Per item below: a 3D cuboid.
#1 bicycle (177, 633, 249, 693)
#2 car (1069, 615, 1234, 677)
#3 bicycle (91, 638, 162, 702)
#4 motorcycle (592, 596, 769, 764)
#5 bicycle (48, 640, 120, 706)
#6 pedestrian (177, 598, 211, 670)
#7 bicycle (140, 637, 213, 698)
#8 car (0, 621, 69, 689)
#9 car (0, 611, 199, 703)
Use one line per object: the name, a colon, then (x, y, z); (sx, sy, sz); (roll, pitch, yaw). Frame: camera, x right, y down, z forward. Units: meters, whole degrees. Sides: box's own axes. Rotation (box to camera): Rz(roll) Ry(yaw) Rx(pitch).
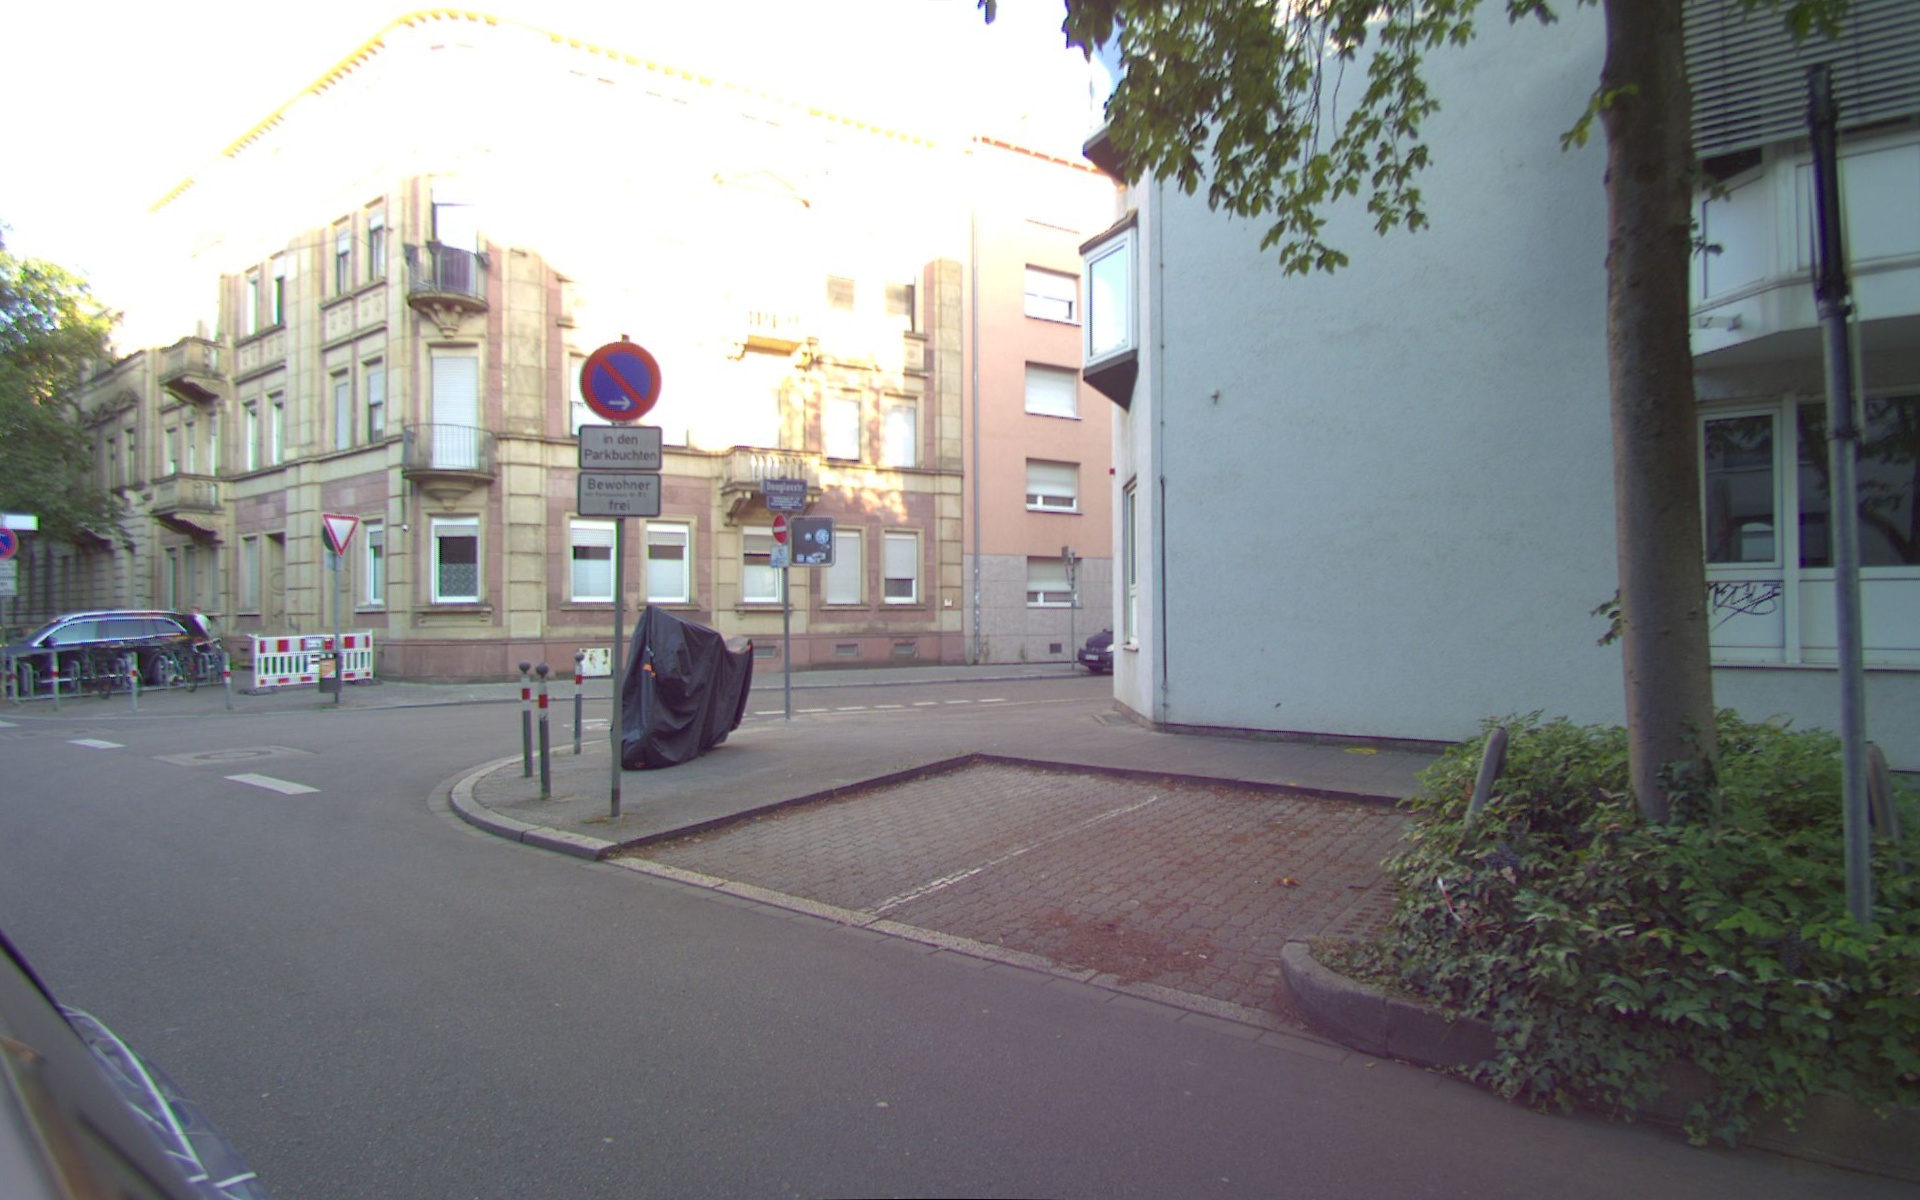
bicycle: (-15.248, 1.260, 20.640); (2.034, 1.159, 0.555); (-1, -1, 34)
car: (5.099, 1.160, 26.796); (4.296, 1.529, 1.789); (1, -2, -35)
bicycle: (-16.102, 1.319, 19.530); (2.035, 1.159, 0.555); (-1, -1, 36)
motorcycle: (-2.771, 0.750, 10.344); (0.810, 1.516, 2.275); (-1, -1, 11)
bicycle: (-16.468, 1.343, 19.010); (2.035, 1.159, 0.555); (-1, -1, 36)
pedestrian: (-19.536, 0.862, 25.807); (0.651, 1.821, 0.565); (-2, -1, 40)
bicycle: (-15.615, 1.321, 20.145); (2.034, 1.159, 0.555); (-1, -1, 34)
car: (-25.006, 1.373, 25.092); (1.741, 1.690, 4.188); (-1, -2, 41)
car: (-18.718, 1.138, 21.022); (1.740, 1.795, 4.368); (-1, -2, 39)
